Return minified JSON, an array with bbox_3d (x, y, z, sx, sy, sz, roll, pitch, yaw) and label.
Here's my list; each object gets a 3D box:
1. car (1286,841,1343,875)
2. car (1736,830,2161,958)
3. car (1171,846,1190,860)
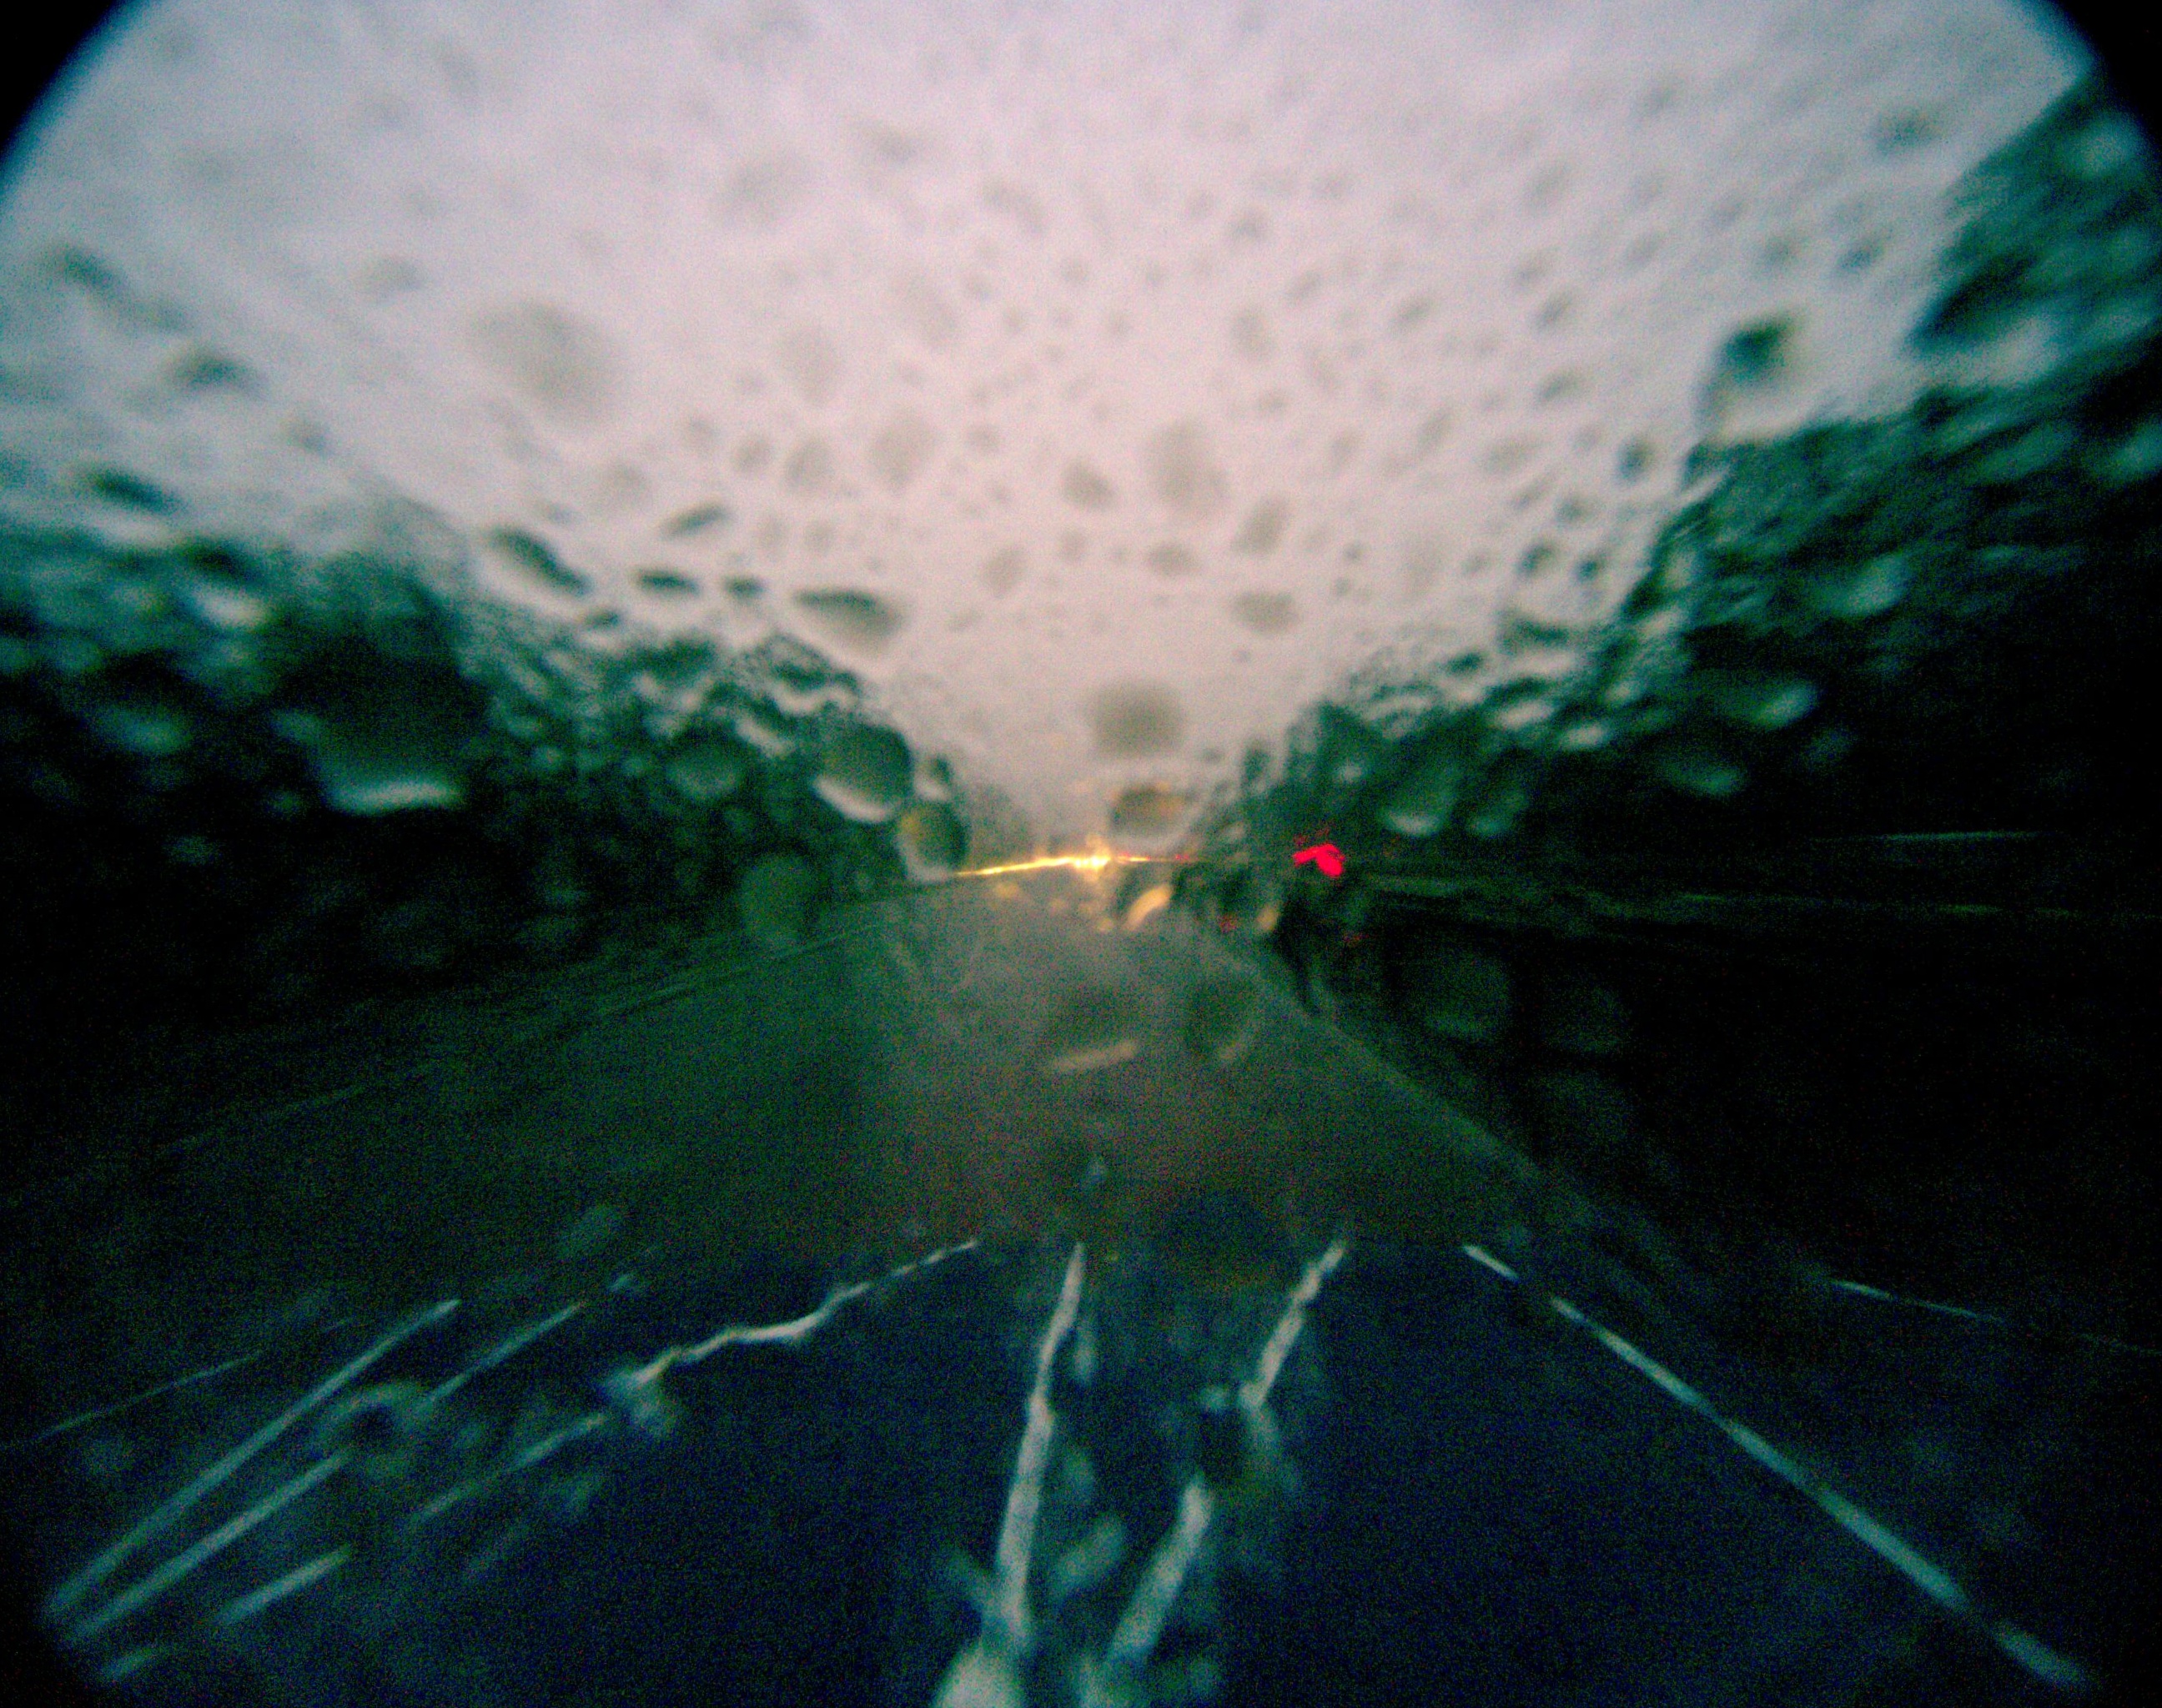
[{"bbox_3d":[12.509,0.178,40.893,1.817,1.681,4.000,-2,0,0],"label":"car"},{"bbox_3d":[12.044,0.453,10.872,1.798,1.432,4.041,-2,0,-1],"label":"car"},{"bbox_3d":[13.947,-0.151,106.284,1.998,1.565,4.271,-5,2,0],"label":"car"}]
